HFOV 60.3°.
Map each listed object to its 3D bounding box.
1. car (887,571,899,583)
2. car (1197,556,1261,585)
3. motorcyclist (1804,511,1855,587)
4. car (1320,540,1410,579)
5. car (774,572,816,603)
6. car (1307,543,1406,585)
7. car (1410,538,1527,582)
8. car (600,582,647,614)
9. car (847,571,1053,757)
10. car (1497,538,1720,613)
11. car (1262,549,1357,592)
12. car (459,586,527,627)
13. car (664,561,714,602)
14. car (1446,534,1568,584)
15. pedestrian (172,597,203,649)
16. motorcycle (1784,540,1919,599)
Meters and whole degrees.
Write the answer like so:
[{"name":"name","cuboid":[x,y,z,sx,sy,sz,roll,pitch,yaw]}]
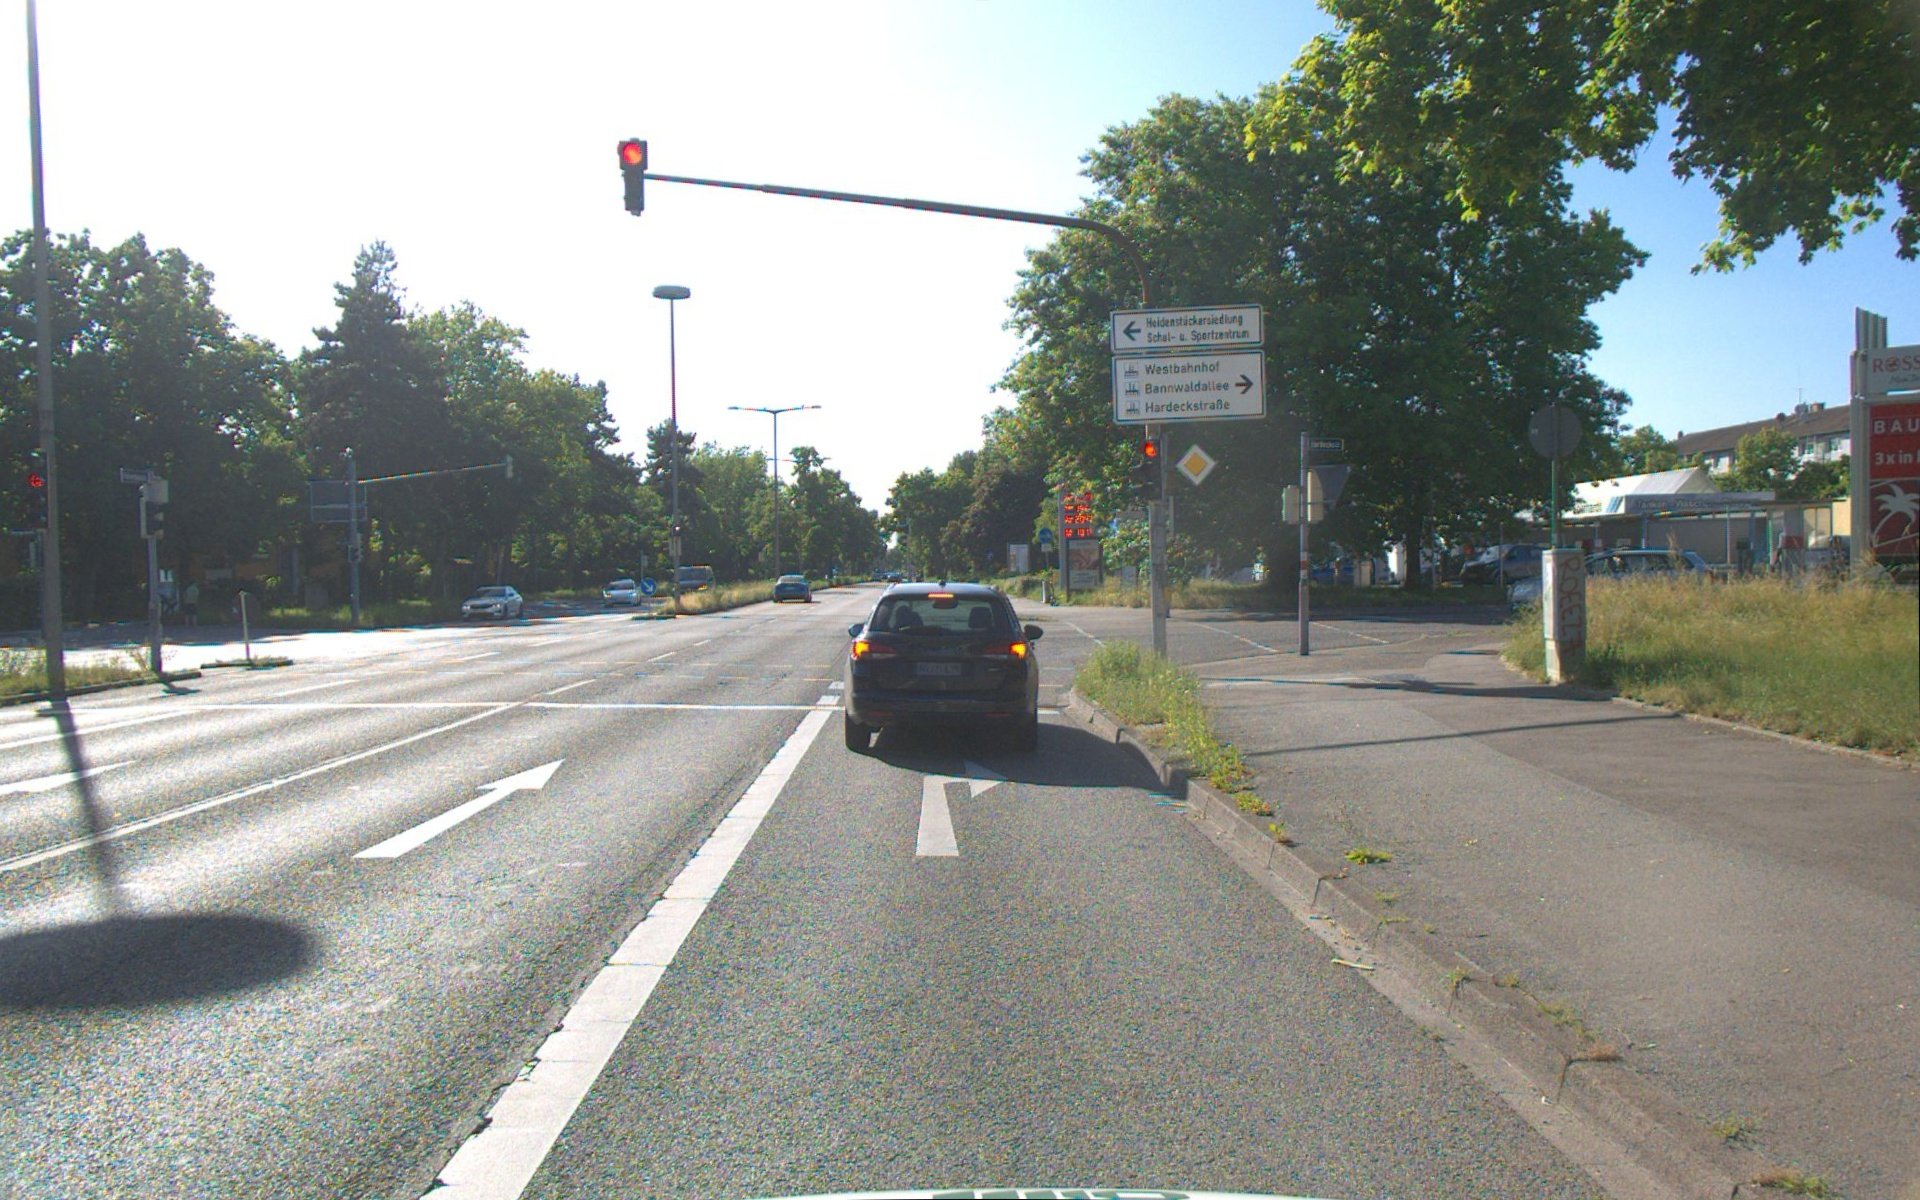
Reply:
[{"name":"car","cuboid":[-9.887,-3.393,245.704,1.697,1.612,3.839,1,0,-2]},{"name":"car","cuboid":[16.588,-1.806,102.096,3.638,1.714,1.703,1,0,-4]},{"name":"motorcyclist","cuboid":[19.947,-1.172,37.960,0.842,1.709,0.835,1,0,15]},{"name":"car","cuboid":[18.388,-1.827,75.128,3.638,1.714,1.703,1,0,-4]},{"name":"car","cuboid":[-8.761,-0.658,88.022,1.850,1.579,3.999,-1,0,-1]},{"name":"car","cuboid":[16.009,-1.436,66.724,3.801,1.590,1.784,1,0,-34]},{"name":"car","cuboid":[18.379,-1.420,59.799,3.780,1.508,1.794,1,0,-21]},{"name":"car","cuboid":[-18.771,-0.118,92.410,1.826,1.713,3.999,1,0,-1]},{"name":"car","cuboid":[-0.132,0.524,15.752,1.720,1.535,3.807,0,0,-2]},{"name":"car","cuboid":[15.082,-0.561,38.698,4.519,1.601,2.002,-1,0,10]},{"name":"car","cuboid":[14.633,-1.223,69.137,3.669,1.714,1.689,1,0,-28]},{"name":"car","cuboid":[-20.374,0.279,72.316,1.826,1.713,4.259,1,0,-1]},{"name":"car","cuboid":[-14.066,-0.942,86.009,1.953,2.049,3.999,1,0,-1]},{"name":"car","cuboid":[19.189,-1.429,58.061,3.780,1.640,1.794,1,0,-21]},{"name":"pedestrian","cuboid":[-28.520,0.849,61.052,0.828,1.867,0.550,-2,1,2]},{"name":"motorcycle","cuboid":[20.425,-0.696,37.847,2.667,1.293,0.835,1,0,15]}]
